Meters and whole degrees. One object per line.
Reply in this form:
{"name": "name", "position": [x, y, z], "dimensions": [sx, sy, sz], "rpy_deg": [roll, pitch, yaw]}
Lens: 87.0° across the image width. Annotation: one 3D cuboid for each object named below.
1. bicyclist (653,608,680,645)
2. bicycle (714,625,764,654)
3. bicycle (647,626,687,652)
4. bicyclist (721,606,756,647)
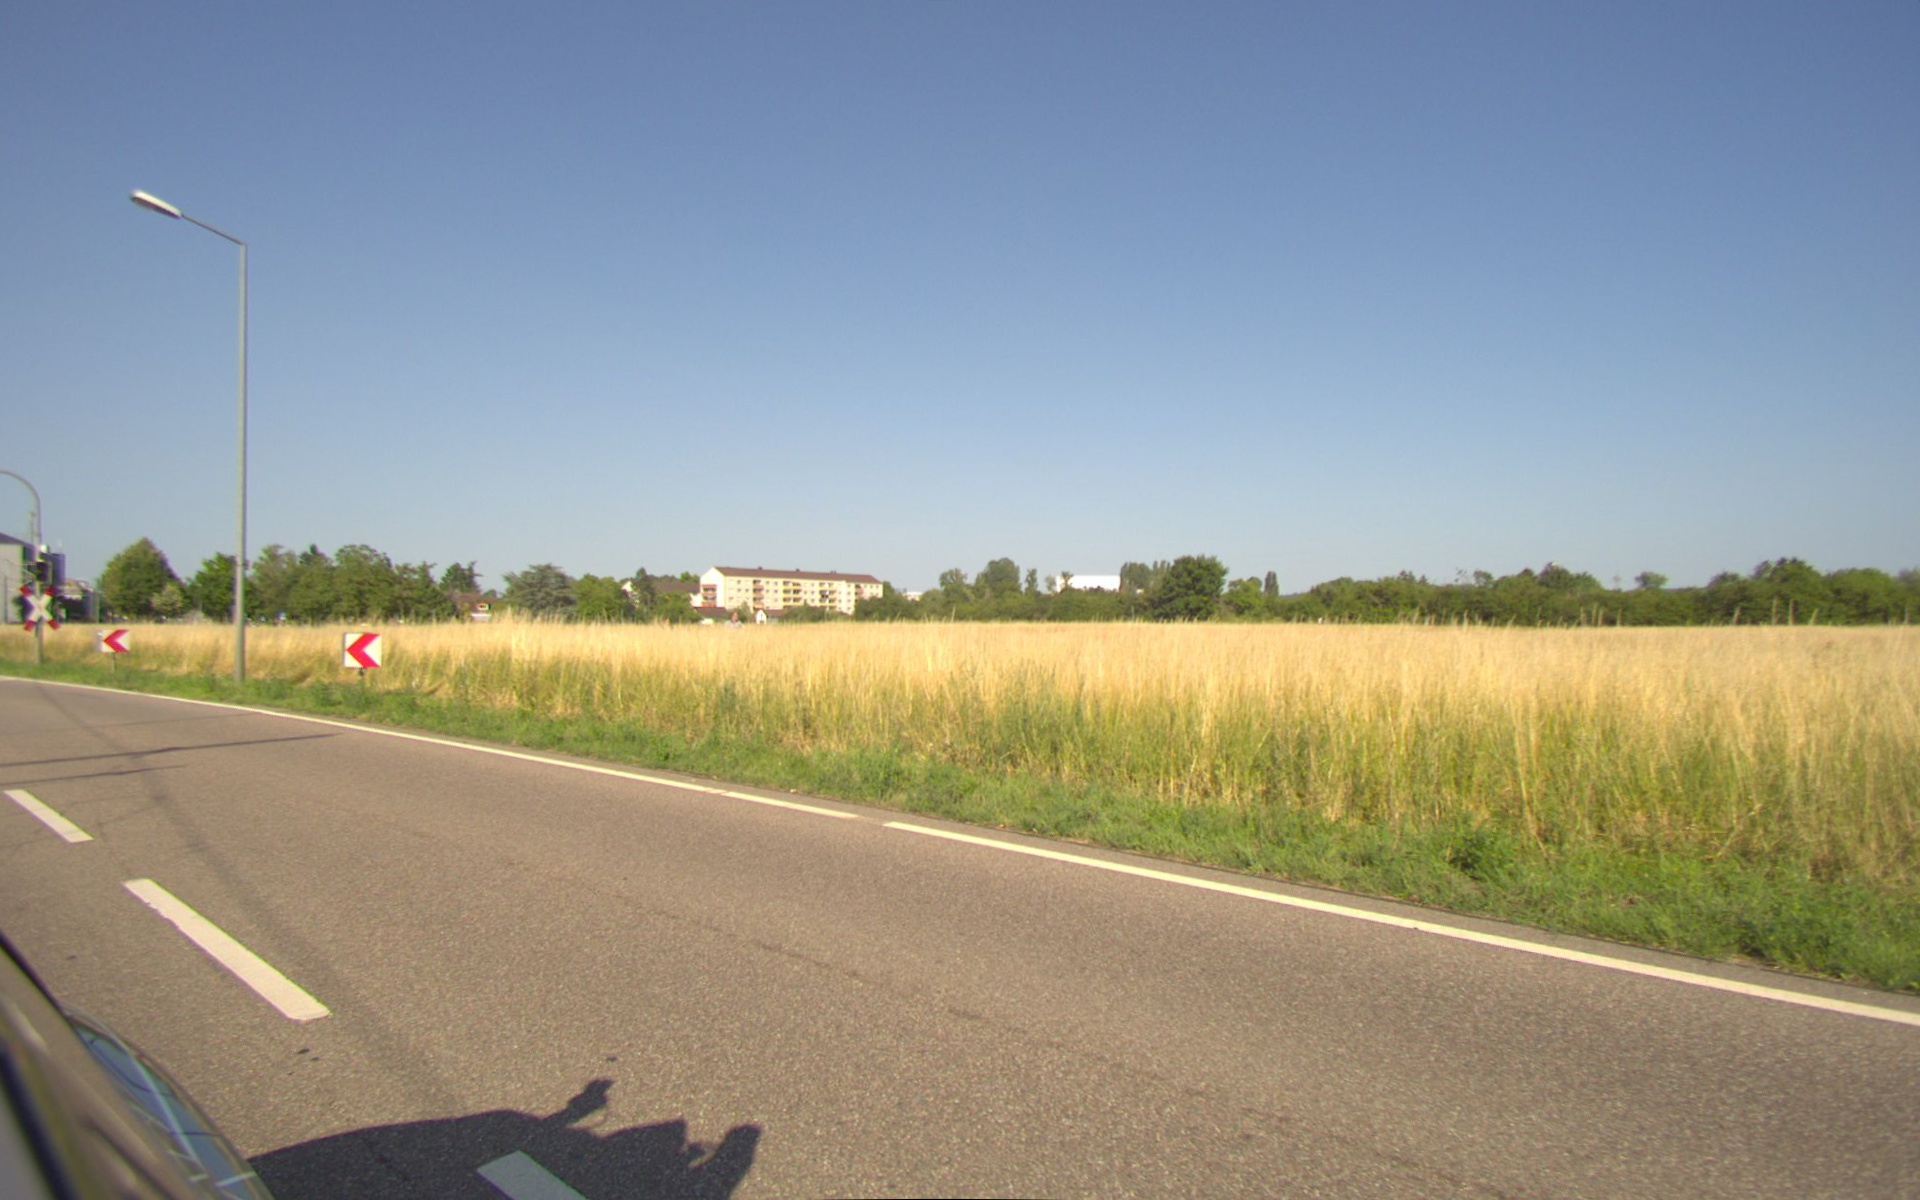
{"name": "bicyclist", "position": [-9.867, 0.880, 34.020], "dimensions": [0.595, 1.214, 0.790], "rpy_deg": [0, -1, -41]}
{"name": "bicycle", "position": [-6.725, 1.180, 30.728], "dimensions": [0.740, 0.845, 1.739], "rpy_deg": [0, -1, -41]}
{"name": "bicycle", "position": [-9.842, 1.301, 33.994], "dimensions": [0.605, 0.845, 1.739], "rpy_deg": [0, -1, -41]}
{"name": "bicyclist", "position": [-6.735, 0.794, 30.738], "dimensions": [0.736, 1.214, 0.790], "rpy_deg": [0, -1, -42]}
